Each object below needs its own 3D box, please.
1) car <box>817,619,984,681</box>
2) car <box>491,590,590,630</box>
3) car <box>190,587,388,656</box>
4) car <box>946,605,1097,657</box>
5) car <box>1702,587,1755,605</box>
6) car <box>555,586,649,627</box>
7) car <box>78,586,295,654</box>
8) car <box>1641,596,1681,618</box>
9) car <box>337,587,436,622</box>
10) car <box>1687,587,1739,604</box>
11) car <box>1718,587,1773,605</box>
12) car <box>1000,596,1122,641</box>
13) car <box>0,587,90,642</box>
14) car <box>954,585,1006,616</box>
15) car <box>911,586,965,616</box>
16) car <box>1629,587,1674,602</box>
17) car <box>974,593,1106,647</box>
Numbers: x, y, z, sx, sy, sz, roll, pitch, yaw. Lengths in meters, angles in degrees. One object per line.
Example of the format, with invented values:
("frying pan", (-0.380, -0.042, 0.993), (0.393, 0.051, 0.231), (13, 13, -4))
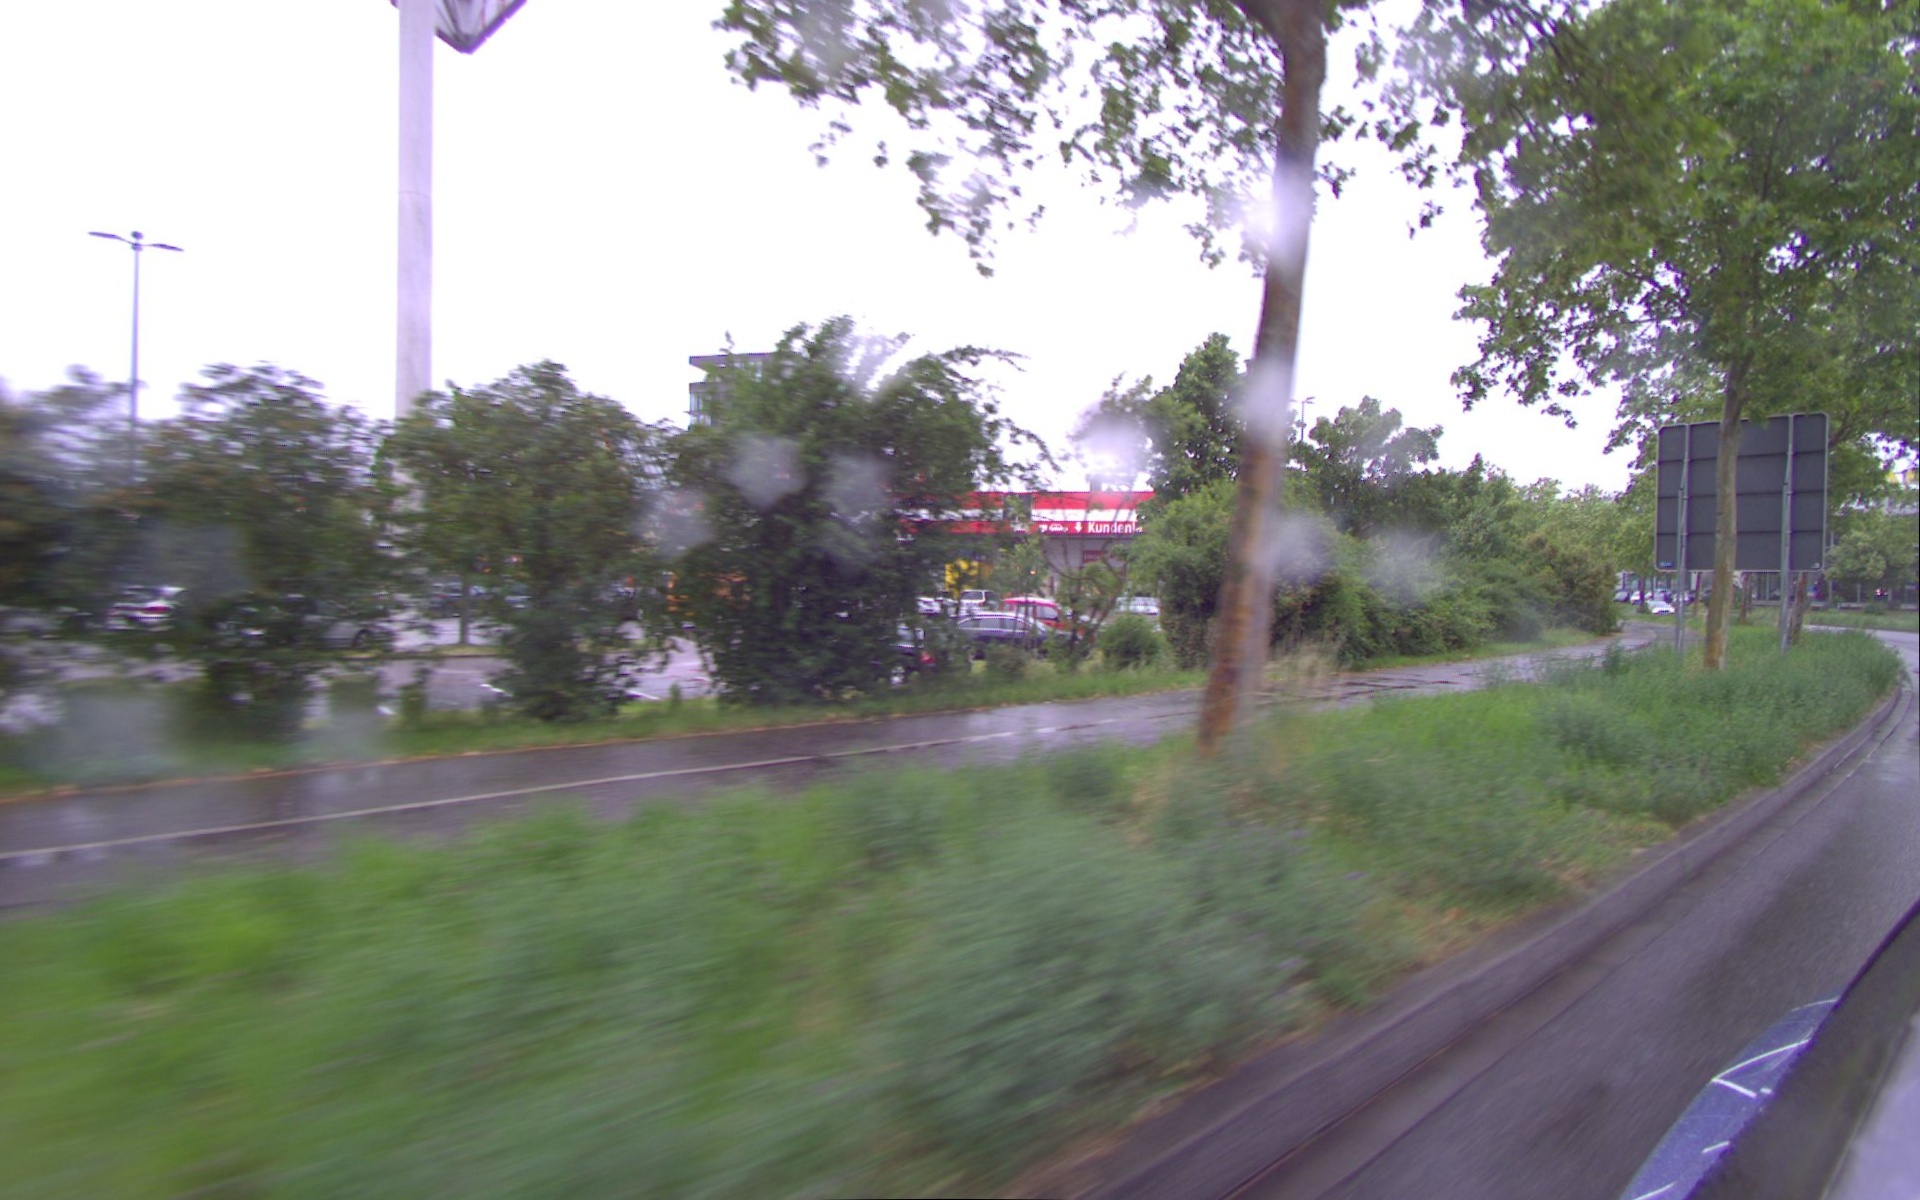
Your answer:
("car", (-1.449, 1.113, 23.747), (3.831, 1.213, 1.729), (1, 1, 42))
("car", (-18.231, 0.396, 44.213), (1.909, 1.655, 4.323), (0, 0, 12))
("car", (-17.472, 0.516, 26.634), (1.908, 1.655, 4.326), (0, 0, 10))
("car", (1.828, 0.885, 29.706), (4.229, 1.388, 1.748), (1, 1, 12))
("car", (78.082, -0.414, 102.855), (3.924, 1.681, 1.865), (-1, 0, 0))
("car", (-15.478, 0.256, 43.957), (1.909, 1.655, 4.323), (0, 0, 12))
("car", (-20.210, 0.474, 26.706), (1.910, 1.655, 4.320), (0, 0, 14))
("car", (58.317, 0.556, 84.228), (1.978, 1.671, 3.968), (0, 1, 24))
("car", (-26.091, 0.163, 46.153), (1.793, 1.538, 3.687), (0, 0, 18))
("car", (78.276, -0.474, 105.271), (3.924, 1.681, 1.865), (-1, 0, 0))
("car", (78.161, -0.392, 100.712), (3.924, 1.681, 1.865), (-1, 0, 0))
("car", (3.731, 0.640, 37.088), (4.233, 1.538, 1.747), (1, 0, 15))
("car", (-27.576, 0.399, 28.543), (1.912, 1.546, 4.317), (0, 0, 16))
("car", (1.176, -0.002, 56.384), (1.733, 1.654, 3.820), (1, 1, 21))
("car", (-1.214, 0.045, 57.419), (1.733, 1.654, 3.820), (1, 1, 21))
("car", (79.442, -0.622, 116.275), (3.924, 1.681, 1.865), (-1, 0, 0))
("car", (2.718, 0.647, 34.130), (4.233, 1.695, 1.747), (1, 0, 15))
